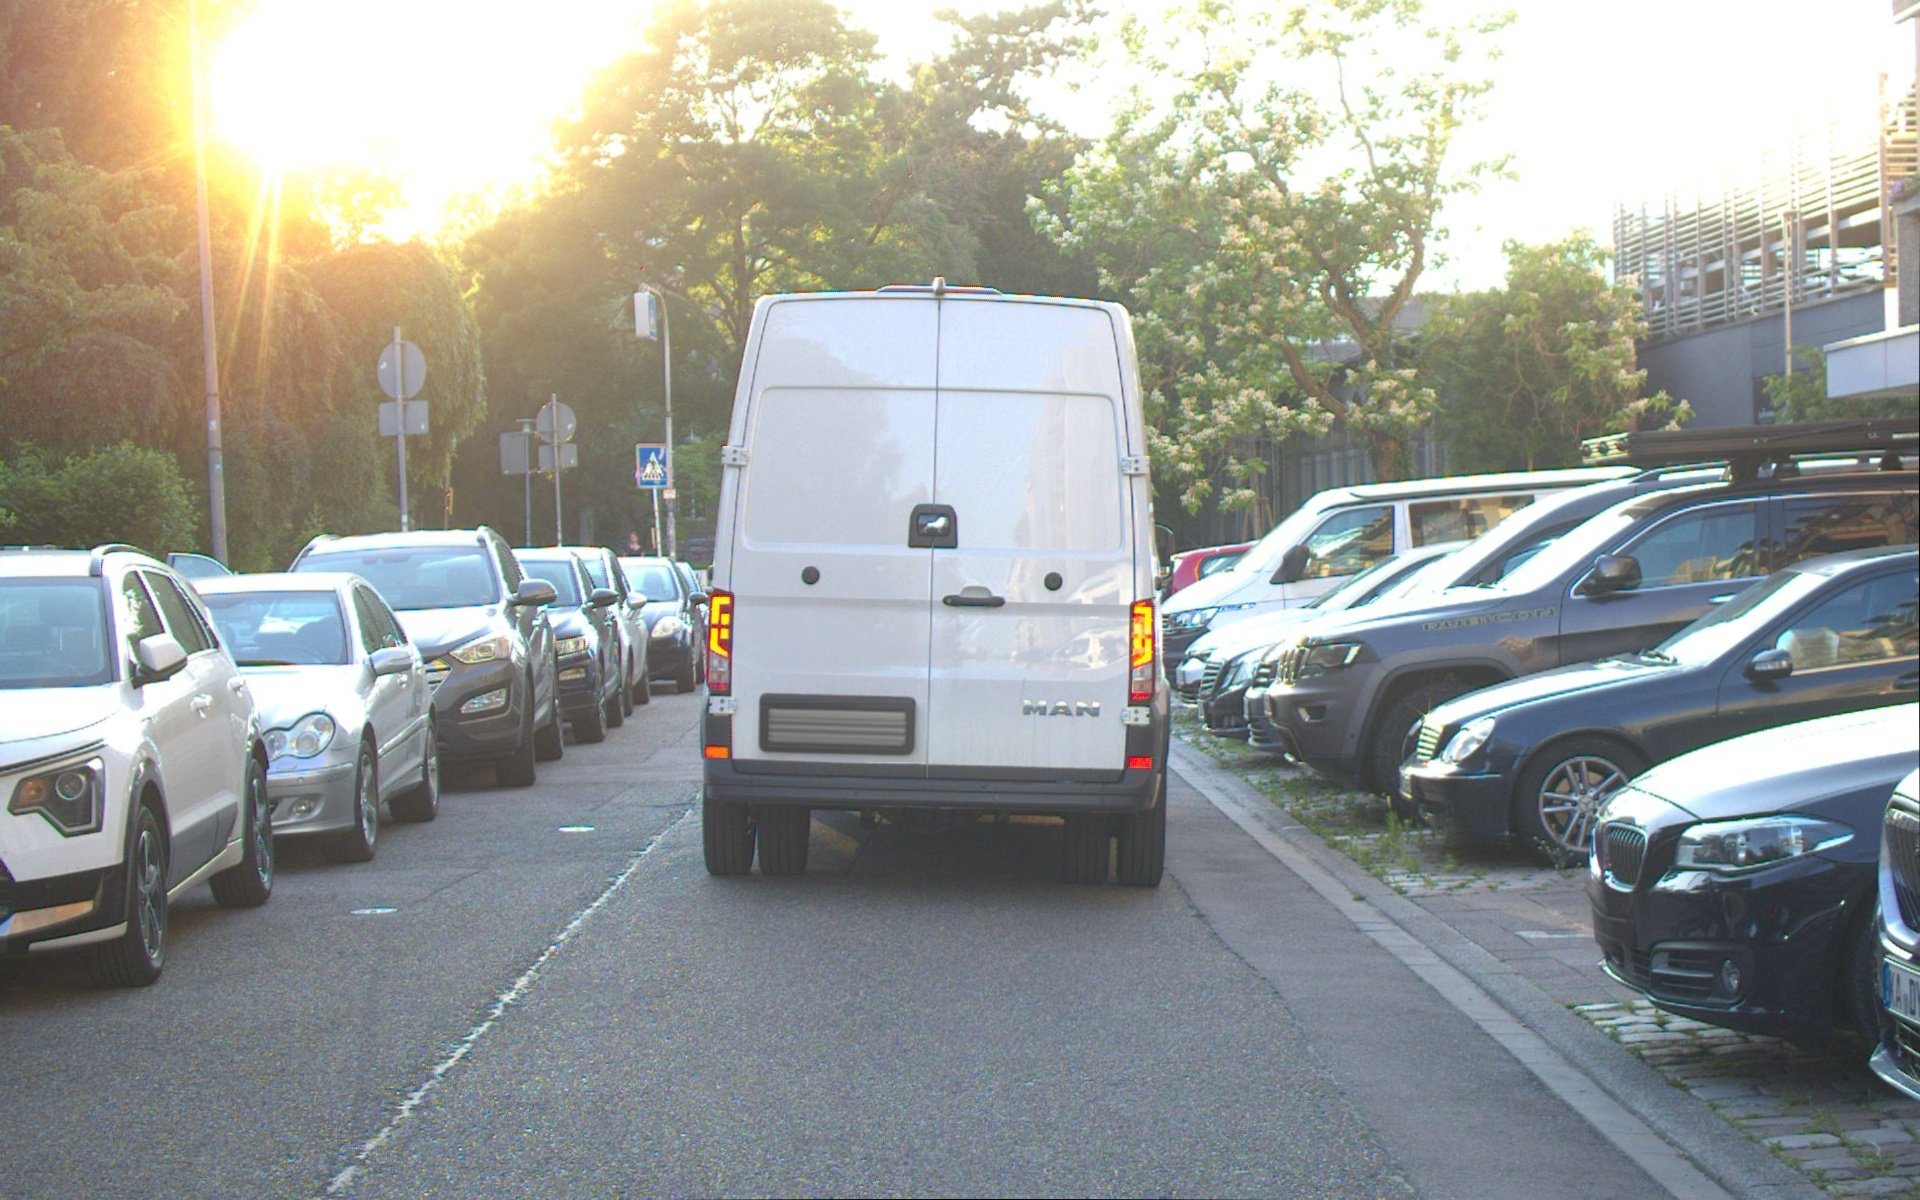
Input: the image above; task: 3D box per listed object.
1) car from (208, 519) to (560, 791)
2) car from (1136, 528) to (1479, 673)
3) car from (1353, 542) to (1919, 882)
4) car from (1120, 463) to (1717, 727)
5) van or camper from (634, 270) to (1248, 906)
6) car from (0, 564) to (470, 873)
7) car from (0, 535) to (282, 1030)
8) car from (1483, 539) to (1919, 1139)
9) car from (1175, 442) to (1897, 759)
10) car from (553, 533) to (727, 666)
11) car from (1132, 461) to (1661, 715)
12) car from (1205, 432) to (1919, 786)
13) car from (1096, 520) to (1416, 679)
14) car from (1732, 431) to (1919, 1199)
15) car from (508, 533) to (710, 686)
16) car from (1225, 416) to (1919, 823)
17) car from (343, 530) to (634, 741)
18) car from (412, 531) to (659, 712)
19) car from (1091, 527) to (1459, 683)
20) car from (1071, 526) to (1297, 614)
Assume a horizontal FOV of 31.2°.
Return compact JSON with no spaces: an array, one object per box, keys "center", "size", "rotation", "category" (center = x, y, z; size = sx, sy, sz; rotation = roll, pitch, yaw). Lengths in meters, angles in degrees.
[{"center":[-3.762,0.297,23.097],"size":[1.993,1.656,4.001],"rotation":[0,1,-5],"category":"car"},{"center":[4.200,-0.009,42.005],"size":[3.987,1.722,2.000],"rotation":[0,1,0],"category":"car"},{"center":[4.141,0.463,16.486],"size":[4.236,1.420,1.719],"rotation":[-2,1,-1],"category":"car"},{"center":[3.774,-0.065,28.908],"size":[4.705,2.138,2.000],"rotation":[0,1,-2],"category":"car"},{"center":[0.027,-0.110,16.982],"size":[2.454,2.538,6.083],"rotation":[1,1,2],"category":"van or camper"},{"center":[-3.800,0.528,17.892],"size":[1.993,1.393,4.000],"rotation":[0,1,-1],"category":"car"},{"center":[-3.781,0.570,12.838],"size":[1.856,1.549,4.100],"rotation":[-2,1,-3],"category":"car"},{"center":[3.710,0.513,9.840],"size":[3.986,1.449,1.836],"rotation":[-4,1,-4],"category":"car"},{"center":[3.959,-0.018,24.230],"size":[4.705,2.138,2.000],"rotation":[0,1,-2],"category":"car"},{"center":[-4.030,-0.048,43.846],"size":[1.993,1.612,4.001],"rotation":[0,1,-2],"category":"car"},{"center":[3.869,-0.121,31.093],"size":[4.495,2.223,2.032],"rotation":[0,1,-1],"category":"car"},{"center":[4.003,0.030,21.803],"size":[4.705,2.138,2.000],"rotation":[0,1,-2],"category":"car"},{"center":[3.764,-0.024,44.324],"size":[3.987,2.007,2.000],"rotation":[0,1,1],"category":"car"},{"center":[4.113,0.441,7.318],"size":[4.433,1.722,1.773],"rotation":[-2,1,-7],"category":"car"},{"center":[-3.857,0.061,38.335],"size":[1.993,1.612,4.001],"rotation":[0,1,-2],"category":"car"},{"center":[3.933,0.082,19.135],"size":[4.705,2.138,2.000],"rotation":[0,1,-2],"category":"car"},{"center":[-3.793,0.235,28.305],"size":[1.993,1.612,4.001],"rotation":[0,1,-2],"category":"car"},{"center":[-3.957,0.149,32.616],"size":[1.993,1.612,4.001],"rotation":[0,1,-2],"category":"car"},{"center":[3.518,0.039,38.965],"size":[3.987,1.722,2.000],"rotation":[0,1,0],"category":"car"},{"center":[4.160,-0.566,64.276],"size":[3.986,1.612,2.000],"rotation":[0,1,-4],"category":"car"}]
